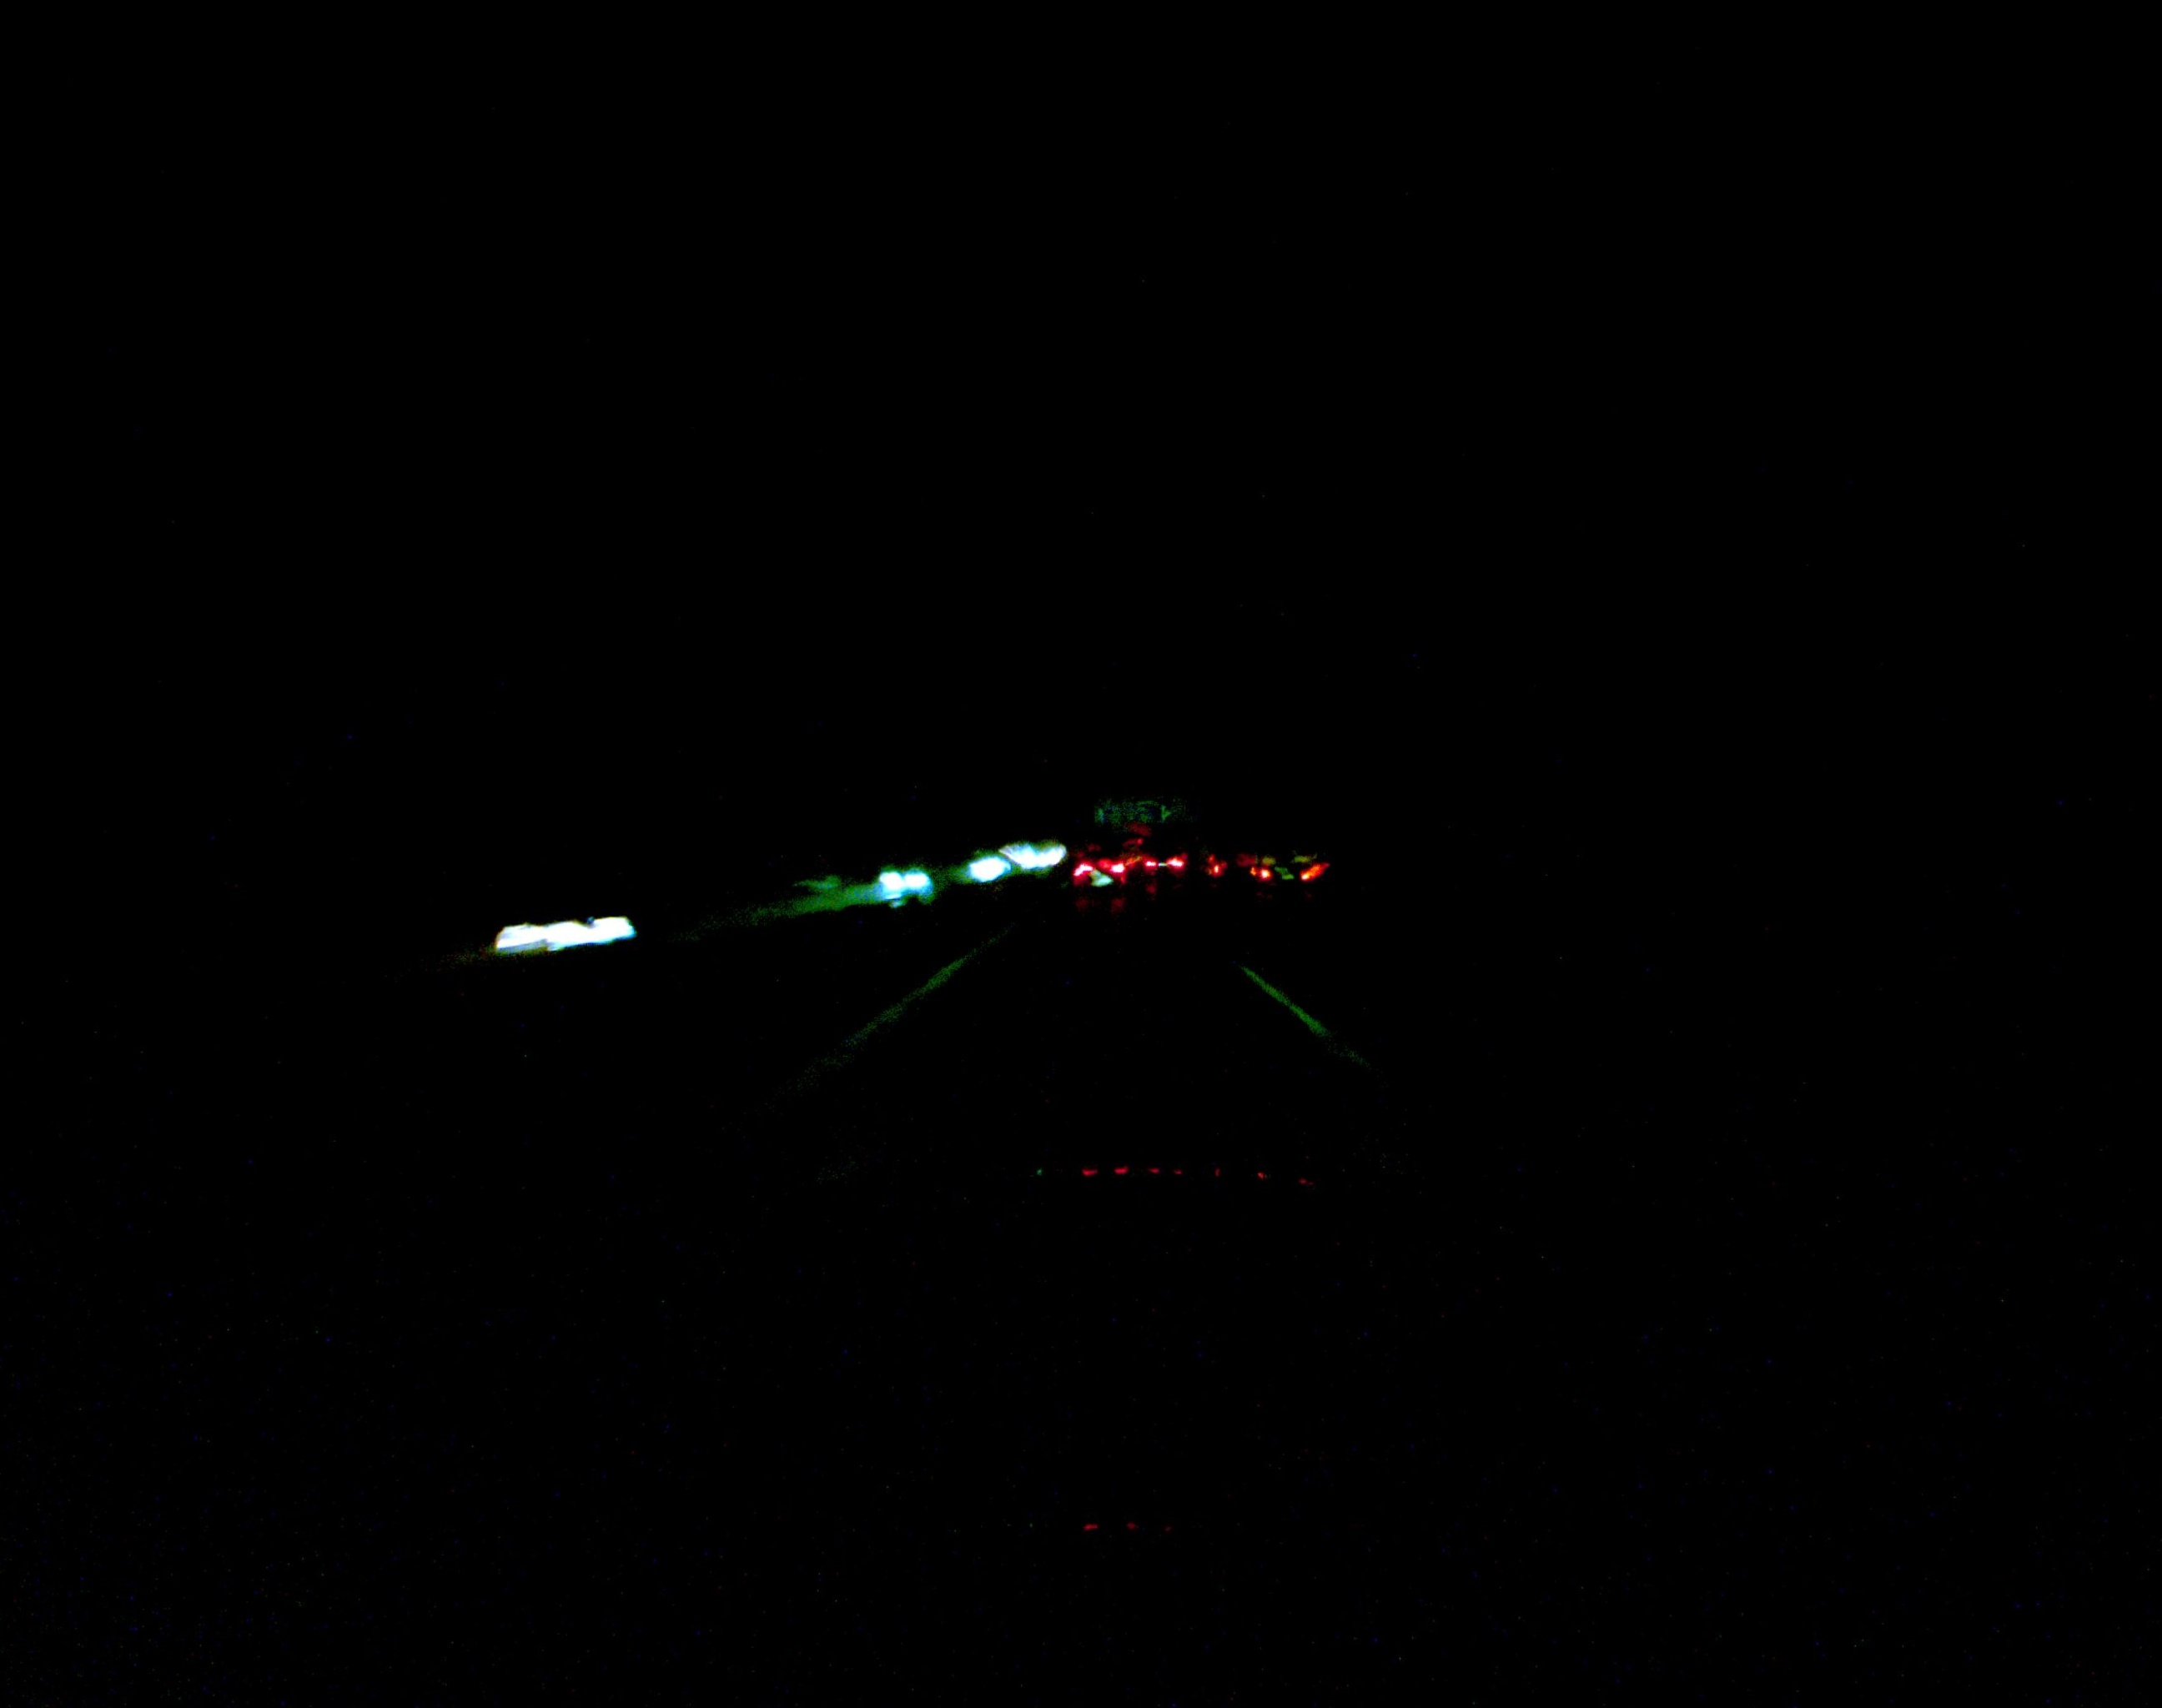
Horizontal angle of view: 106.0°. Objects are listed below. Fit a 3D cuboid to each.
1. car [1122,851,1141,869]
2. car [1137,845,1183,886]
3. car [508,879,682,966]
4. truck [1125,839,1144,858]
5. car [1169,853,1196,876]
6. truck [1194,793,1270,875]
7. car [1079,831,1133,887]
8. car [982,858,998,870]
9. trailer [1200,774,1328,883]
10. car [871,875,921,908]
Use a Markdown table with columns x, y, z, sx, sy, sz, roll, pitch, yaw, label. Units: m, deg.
| x | y | z | sx | sy | sz | roll | pitch | yaw | label |
| --- | --- | --- | --- | --- | --- | --- | --- | --- | --- |
| 6.271 | 0.741 | 101.715 | 1.988 | 2.013 | 3.998 | -3 | 0 | -1 | car |
| 4.266 | 0.594 | 44.771 | 1.988 | 2.013 | 3.998 | -3 | 0 | -1 | car |
| -12.030 | 1.624 | 20.521 | 1.988 | 1.760 | 3.999 | 0 | 1 | -1 | car |
| 10.131 | -0.964 | 155.719 | 3.026 | 3.297 | 11.383 | -3 | 0 | 1 | truck |
| 9.660 | 0.946 | 77.772 | 1.988 | 2.013 | 3.998 | -3 | 0 | -1 | car |
| 8.245 | -1.025 | 45.257 | 3.030 | 4.108 | 5.799 | -3 | 0 | 1 | truck |
| 0.968 | 0.184 | 31.990 | 1.986 | 2.013 | 4.001 | 0 | 0 | 1 | car |
| -14.224 | 1.531 | 127.380 | 1.988 | 1.761 | 4.957 | -3 | 0 | -1 | car |
| 8.174 | -1.011 | 38.801 | 3.030 | 4.108 | 13.831 | -3 | 0 | 1 | trailer |
| -11.744 | 2.335 | 52.056 | 1.987 | 1.760 | 4.960 | 0 | 1 | 1 | car |
